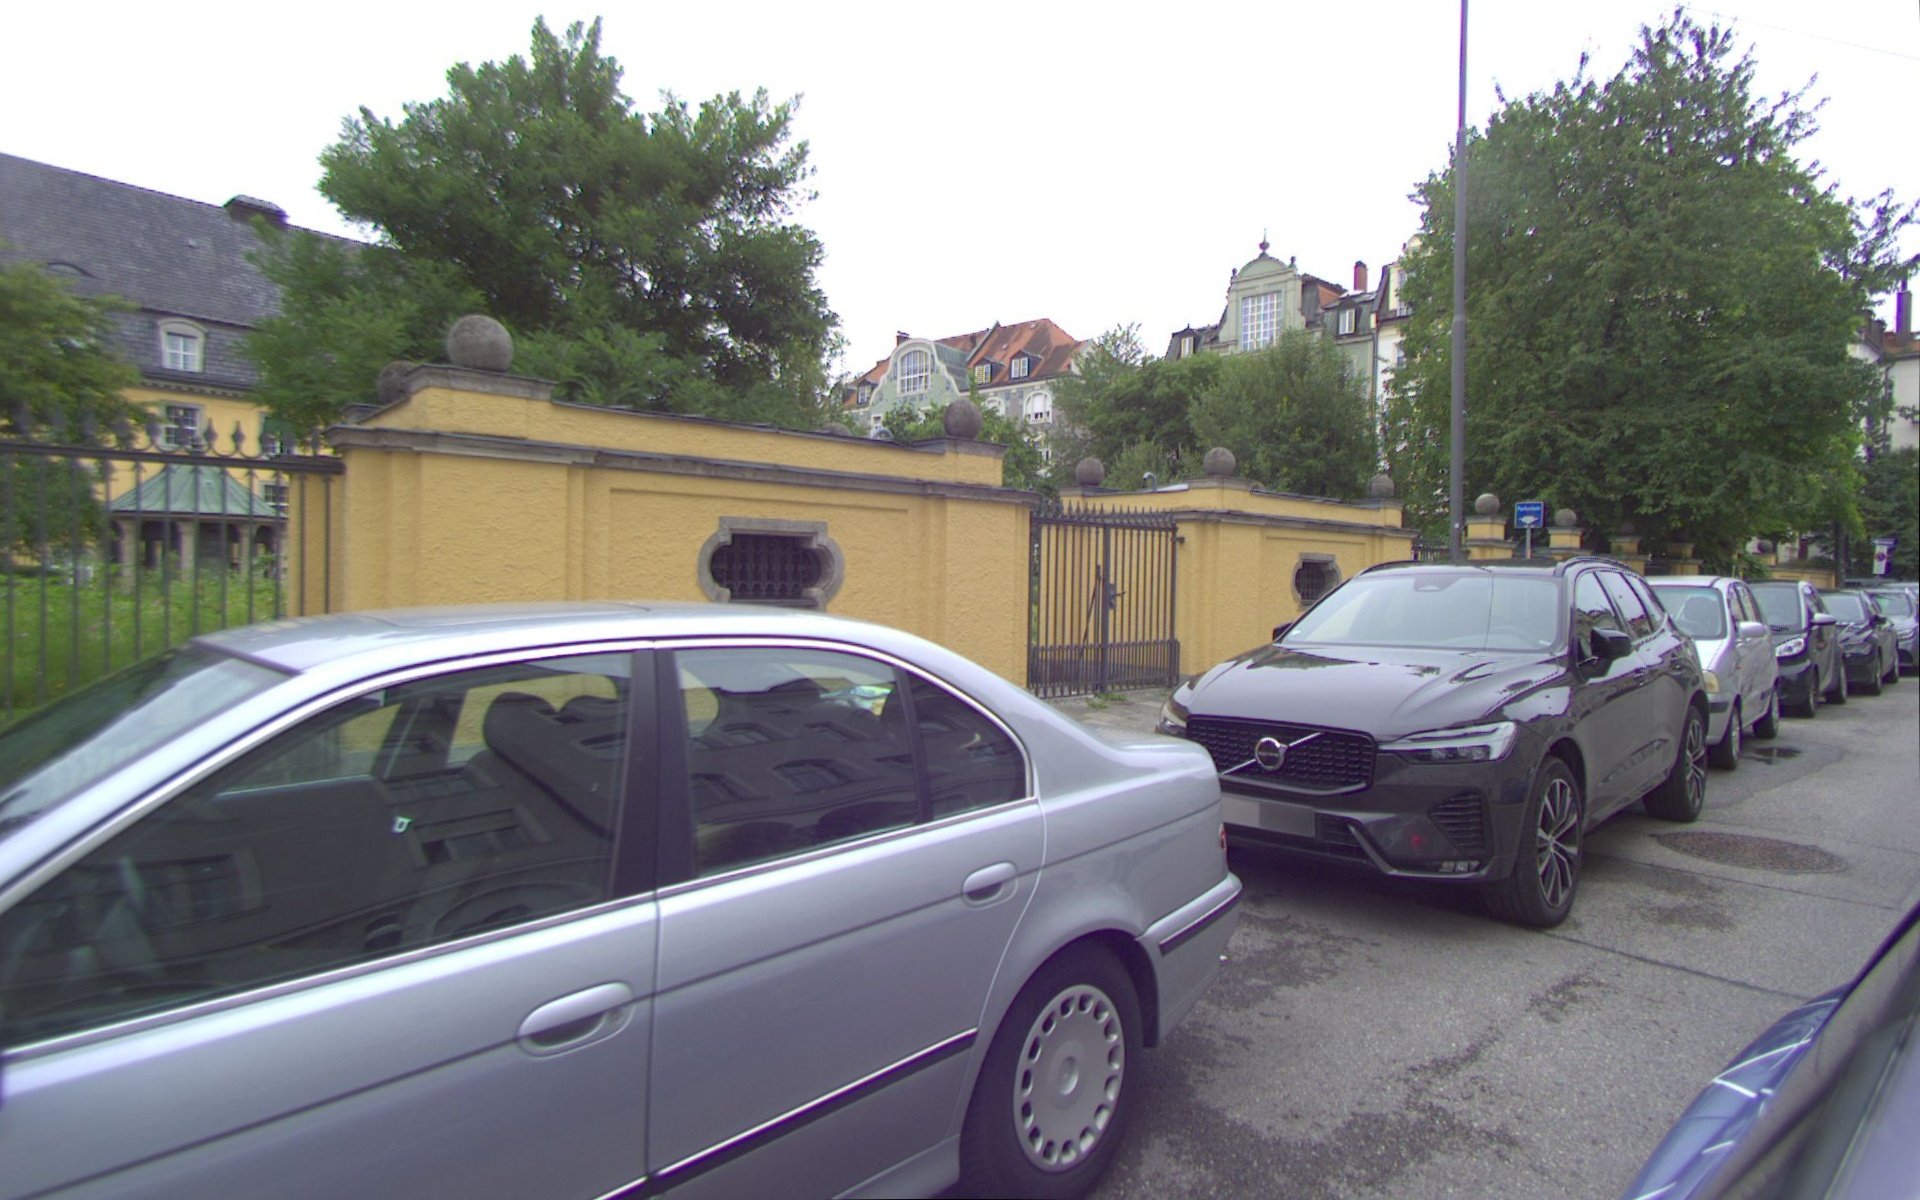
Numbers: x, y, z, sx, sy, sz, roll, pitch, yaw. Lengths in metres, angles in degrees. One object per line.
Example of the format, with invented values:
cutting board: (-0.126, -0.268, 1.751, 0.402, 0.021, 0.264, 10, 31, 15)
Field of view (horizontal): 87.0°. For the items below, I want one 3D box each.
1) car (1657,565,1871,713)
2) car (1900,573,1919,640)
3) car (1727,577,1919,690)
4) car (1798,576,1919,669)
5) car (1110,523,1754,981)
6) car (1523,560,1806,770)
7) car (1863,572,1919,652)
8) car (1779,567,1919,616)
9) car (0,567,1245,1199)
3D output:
car: (9.803, 0.399, 12.294, 2.819, 1.586, 1.511, -1, 0, -40)
car: (24.840, 0.153, 25.136, 4.245, 1.590, 1.716, -1, 3, -41)
car: (12.700, 0.403, 14.783, 3.968, 1.432, 1.694, -1, 0, -42)
car: (16.517, 0.323, 18.029, 4.436, 1.432, 1.695, -1, 3, -40)
car: (3.114, 0.529, 6.037, 4.743, 1.674, 1.886, -1, 0, -43)
car: (6.604, 0.465, 9.336, 3.632, 1.559, 1.485, -1, 0, -44)
car: (21.042, 0.218, 21.857, 4.609, 1.590, 1.716, -1, 3, -41)
car: (38.646, -0.382, 43.885, 1.713, 1.895, 4.669, 3, 0, -44)
car: (-1.372, 0.692, 2.064, 4.297, 1.467, 1.885, -1, 0, -44)
